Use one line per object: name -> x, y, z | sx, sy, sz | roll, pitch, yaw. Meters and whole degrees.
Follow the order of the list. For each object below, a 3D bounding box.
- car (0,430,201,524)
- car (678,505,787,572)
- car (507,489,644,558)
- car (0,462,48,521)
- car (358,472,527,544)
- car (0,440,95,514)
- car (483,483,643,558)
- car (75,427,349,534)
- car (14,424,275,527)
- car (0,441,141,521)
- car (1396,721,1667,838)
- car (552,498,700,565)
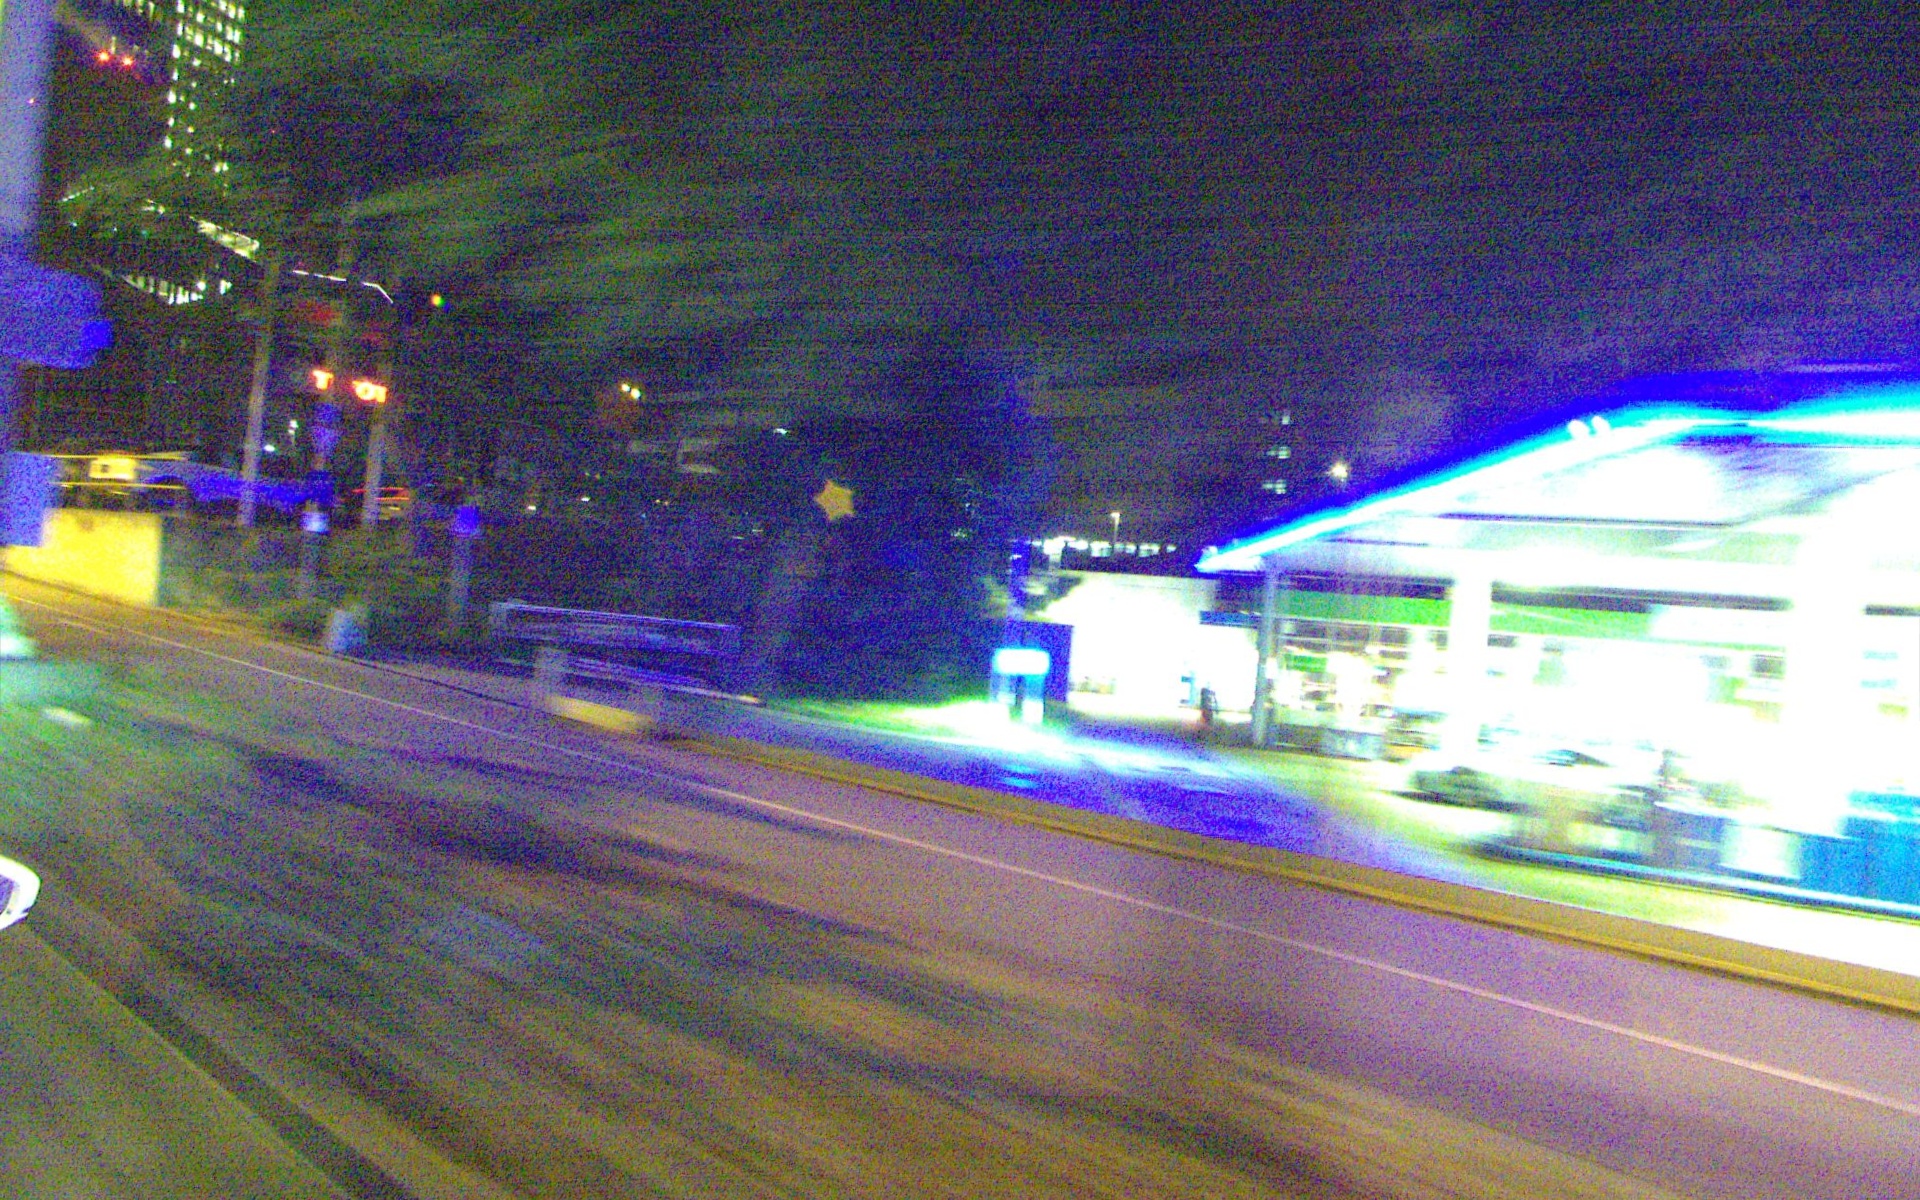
car -> -19.775, -2.725, 22.742 | 1.749, 1.608, 3.753 | 5, 1, 25
car -> -7.973, -2.138, 35.570 | 1.721, 1.919, 3.818 | 6, 0, 23
car -> -14.141, -2.762, 37.291 | 1.964, 1.934, 4.587 | 6, 0, 23
car -> -26.976, -3.059, 26.964 | 1.708, 1.509, 3.839 | 4, 1, -4
car -> -15.811, -2.769, 30.954 | 1.721, 1.748, 4.362 | 5, 2, 29
car -> -24.142, -3.185, 25.012 | 1.695, 1.590, 3.570 | 6, 1, 22
car -> -11.348, -2.246, 29.025 | 1.806, 1.754, 3.988 | 5, 2, 30
car -> -15.302, -2.392, 20.835 | 1.791, 1.541, 4.126 | 5, 0, 28
car -> -17.431, -2.612, 21.717 | 1.708, 1.591, 3.992 | 5, 0, 28
car -> -21.984, -2.852, 23.730 | 1.711, 1.508, 3.732 | 5, 0, 25
car -> 10.271, 3.203, 18.434 | 3.994, 1.374, 1.659 | 6, -2, 21
car -> -9.029, -1.832, 27.454 | 1.609, 1.490, 3.642 | 5, 2, 30
